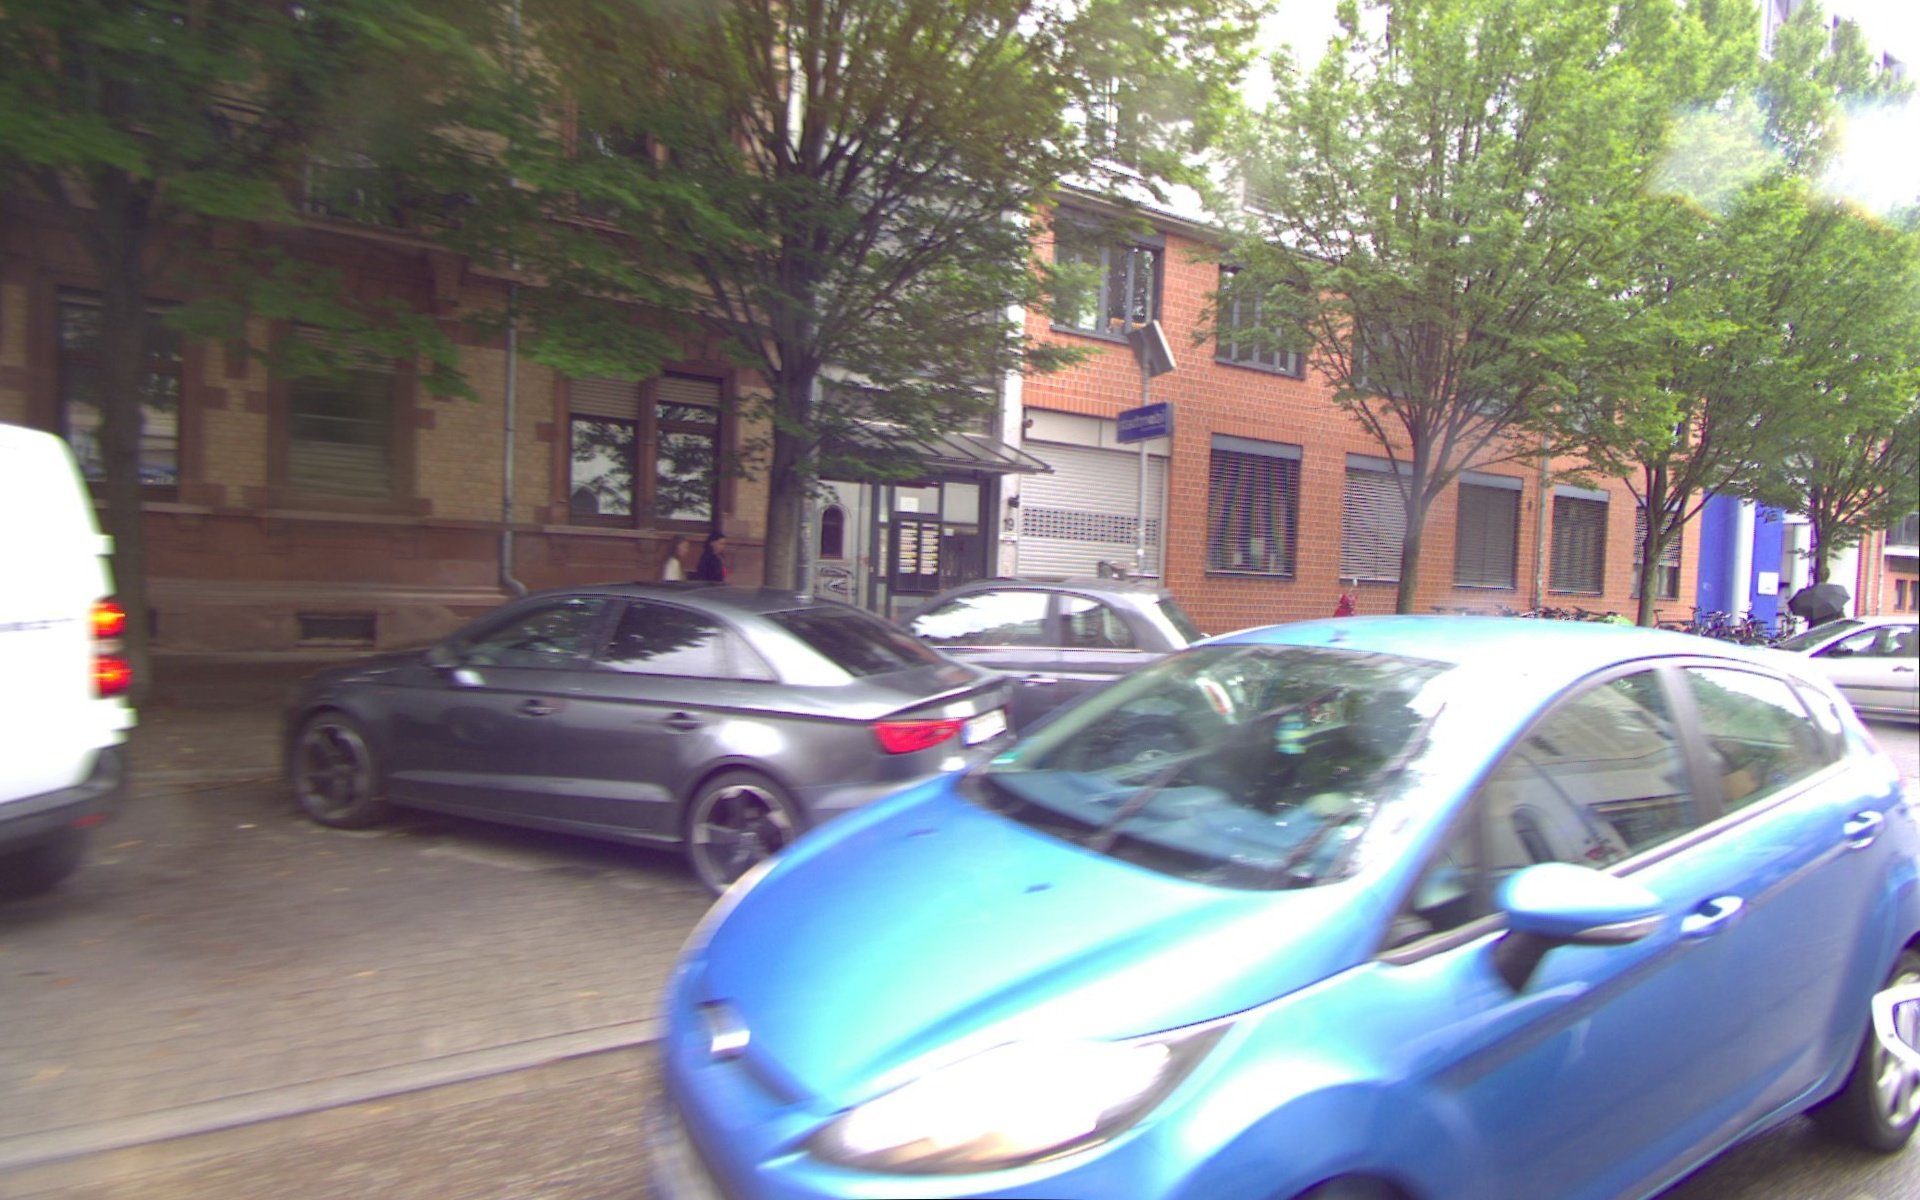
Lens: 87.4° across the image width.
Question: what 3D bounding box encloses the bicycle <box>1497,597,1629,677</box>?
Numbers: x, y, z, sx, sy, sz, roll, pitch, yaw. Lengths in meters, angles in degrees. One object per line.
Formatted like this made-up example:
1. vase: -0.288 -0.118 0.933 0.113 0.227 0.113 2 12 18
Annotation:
1. bicycle: 10.718 0.630 17.935 0.547 1.168 1.885 1 6 -31

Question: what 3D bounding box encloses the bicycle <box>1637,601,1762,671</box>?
1. bicycle: 15.138 0.717 20.620 0.547 1.168 1.885 1 6 -31

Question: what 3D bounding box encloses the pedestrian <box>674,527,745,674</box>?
1. pedestrian: -2.905 -0.002 11.631 0.583 1.624 0.563 1 5 -34

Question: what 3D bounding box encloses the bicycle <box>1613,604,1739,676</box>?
1. bicycle: 14.296 0.770 20.117 0.547 1.168 1.885 1 6 -31

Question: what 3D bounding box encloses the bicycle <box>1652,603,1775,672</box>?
1. bicycle: 15.722 0.756 21.015 0.547 1.168 1.885 1 6 -31

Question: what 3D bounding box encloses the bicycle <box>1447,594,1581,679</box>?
1. bicycle: 9.399 0.591 17.125 0.547 1.168 1.885 1 6 -31

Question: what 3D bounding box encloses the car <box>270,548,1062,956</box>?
1. car: -1.590 0.564 5.562 3.901 1.466 1.767 4 3 21

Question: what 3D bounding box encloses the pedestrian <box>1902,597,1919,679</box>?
1. pedestrian: 21.460 0.864 22.014 0.746 1.776 0.823 1 4 -22

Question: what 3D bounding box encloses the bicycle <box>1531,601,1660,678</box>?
1. bicycle: 11.815 0.702 18.737 0.547 1.168 1.885 1 6 -31

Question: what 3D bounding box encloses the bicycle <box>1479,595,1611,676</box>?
1. bicycle: 10.288 0.602 17.750 0.547 1.168 1.885 1 6 -31

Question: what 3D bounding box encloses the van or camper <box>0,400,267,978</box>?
1. van or camper: -5.516 0.177 3.957 4.605 1.979 2.336 4 3 19

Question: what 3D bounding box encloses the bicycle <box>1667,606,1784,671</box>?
1. bicycle: 16.876 0.831 22.201 0.547 1.168 1.885 1 6 -31

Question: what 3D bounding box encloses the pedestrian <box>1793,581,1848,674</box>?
1. pedestrian: 16.420 0.515 19.178 0.428 1.730 0.609 3 0 -29

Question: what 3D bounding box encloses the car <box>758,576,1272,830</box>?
1. car: 0.464 0.608 7.352 3.411 1.455 1.651 2 1 19

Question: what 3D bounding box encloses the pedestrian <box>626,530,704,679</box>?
1. pedestrian: -3.192 0.033 10.851 0.581 1.517 0.683 1 5 -34

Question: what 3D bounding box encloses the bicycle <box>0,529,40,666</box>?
1. bicycle: -9.828 -0.056 8.879 2.383 1.209 0.664 1 5 -29

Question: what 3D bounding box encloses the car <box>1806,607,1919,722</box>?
1. car: 15.176 0.992 15.195 3.324 1.676 1.631 2 0 28

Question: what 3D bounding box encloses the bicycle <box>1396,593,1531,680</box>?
1. bicycle: 8.222 0.564 16.490 0.547 1.168 1.885 1 6 -31

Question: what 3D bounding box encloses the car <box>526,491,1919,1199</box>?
1. car: 1.055 0.660 2.778 3.957 1.485 1.661 2 1 -31

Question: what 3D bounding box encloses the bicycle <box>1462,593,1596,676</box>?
1. bicycle: 9.831 0.572 17.437 0.547 1.168 1.885 1 6 -31

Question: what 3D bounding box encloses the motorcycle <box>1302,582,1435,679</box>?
1. motorcycle: 6.302 0.442 15.607 0.648 1.242 1.875 1 6 -25

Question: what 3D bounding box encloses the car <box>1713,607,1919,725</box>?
1. car: 12.818 0.893 13.803 3.644 1.471 1.684 2 0 26

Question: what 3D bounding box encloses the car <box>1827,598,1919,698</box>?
1. car: 17.542 0.984 16.495 4.443 1.559 2.334 7 3 28

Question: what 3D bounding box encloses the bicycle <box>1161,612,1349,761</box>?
1. bicycle: 2.837 0.742 9.513 0.773 1.173 2.133 4 4 44

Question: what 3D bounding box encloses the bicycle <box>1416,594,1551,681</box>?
1. bicycle: 8.682 0.594 16.739 0.547 1.168 1.885 1 6 -31

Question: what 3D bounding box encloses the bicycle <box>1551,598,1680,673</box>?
1. bicycle: 12.366 0.642 19.019 0.547 1.168 1.885 1 6 -31

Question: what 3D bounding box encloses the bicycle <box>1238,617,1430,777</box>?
1. bicycle: 3.387 0.783 8.961 0.740 1.173 2.206 4 4 44
